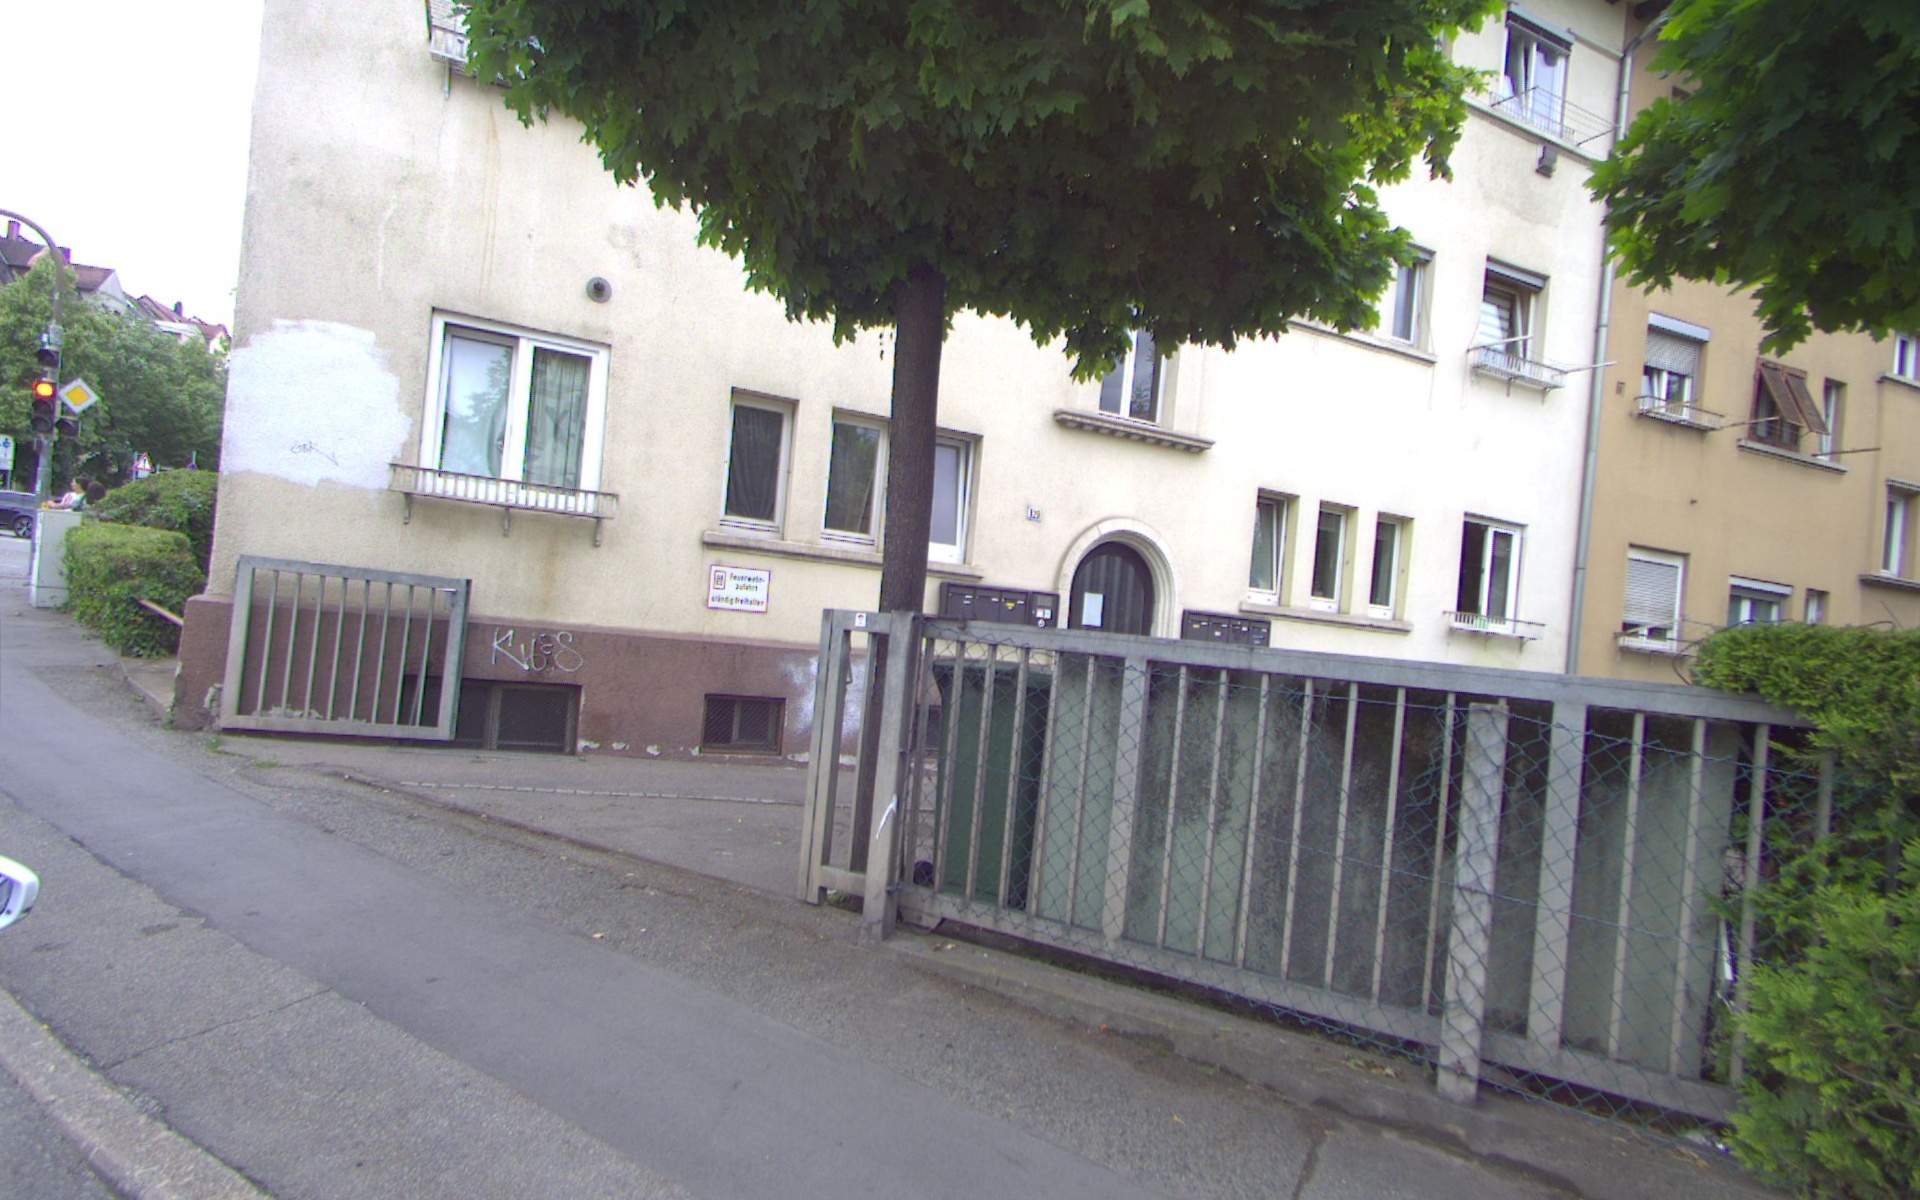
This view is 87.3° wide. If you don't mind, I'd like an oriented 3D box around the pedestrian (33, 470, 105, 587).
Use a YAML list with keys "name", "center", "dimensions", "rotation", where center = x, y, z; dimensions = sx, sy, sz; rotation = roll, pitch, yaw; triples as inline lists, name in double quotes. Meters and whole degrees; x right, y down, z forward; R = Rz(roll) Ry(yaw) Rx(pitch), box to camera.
- name: "pedestrian"
  center: [-14.905, -1.191, 16.836]
  dimensions: [0.521, 1.840, 0.590]
  rotation: [6, -2, 36]

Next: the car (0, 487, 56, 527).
- name: "car"
  center: [-61.023, -6.076, 65.072]
  dimensions: [1.970, 2.036, 3.991]
  rotation: [8, -3, -15]

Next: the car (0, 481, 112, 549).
- name: "car"
  center: [-31.788, -2.970, 33.812]
  dimensions: [4.569, 1.792, 1.929]
  rotation: [6, -2, -7]

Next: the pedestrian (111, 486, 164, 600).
- name: "pedestrian"
  center: [-13.912, -0.962, 17.018]
  dimensions: [0.462, 1.857, 0.320]
  rotation: [9, -2, -44]

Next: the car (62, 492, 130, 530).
- name: "car"
  center: [-62.834, -6.460, 73.208]
  dimensions: [1.970, 2.036, 3.991]
  rotation: [8, -3, -15]
